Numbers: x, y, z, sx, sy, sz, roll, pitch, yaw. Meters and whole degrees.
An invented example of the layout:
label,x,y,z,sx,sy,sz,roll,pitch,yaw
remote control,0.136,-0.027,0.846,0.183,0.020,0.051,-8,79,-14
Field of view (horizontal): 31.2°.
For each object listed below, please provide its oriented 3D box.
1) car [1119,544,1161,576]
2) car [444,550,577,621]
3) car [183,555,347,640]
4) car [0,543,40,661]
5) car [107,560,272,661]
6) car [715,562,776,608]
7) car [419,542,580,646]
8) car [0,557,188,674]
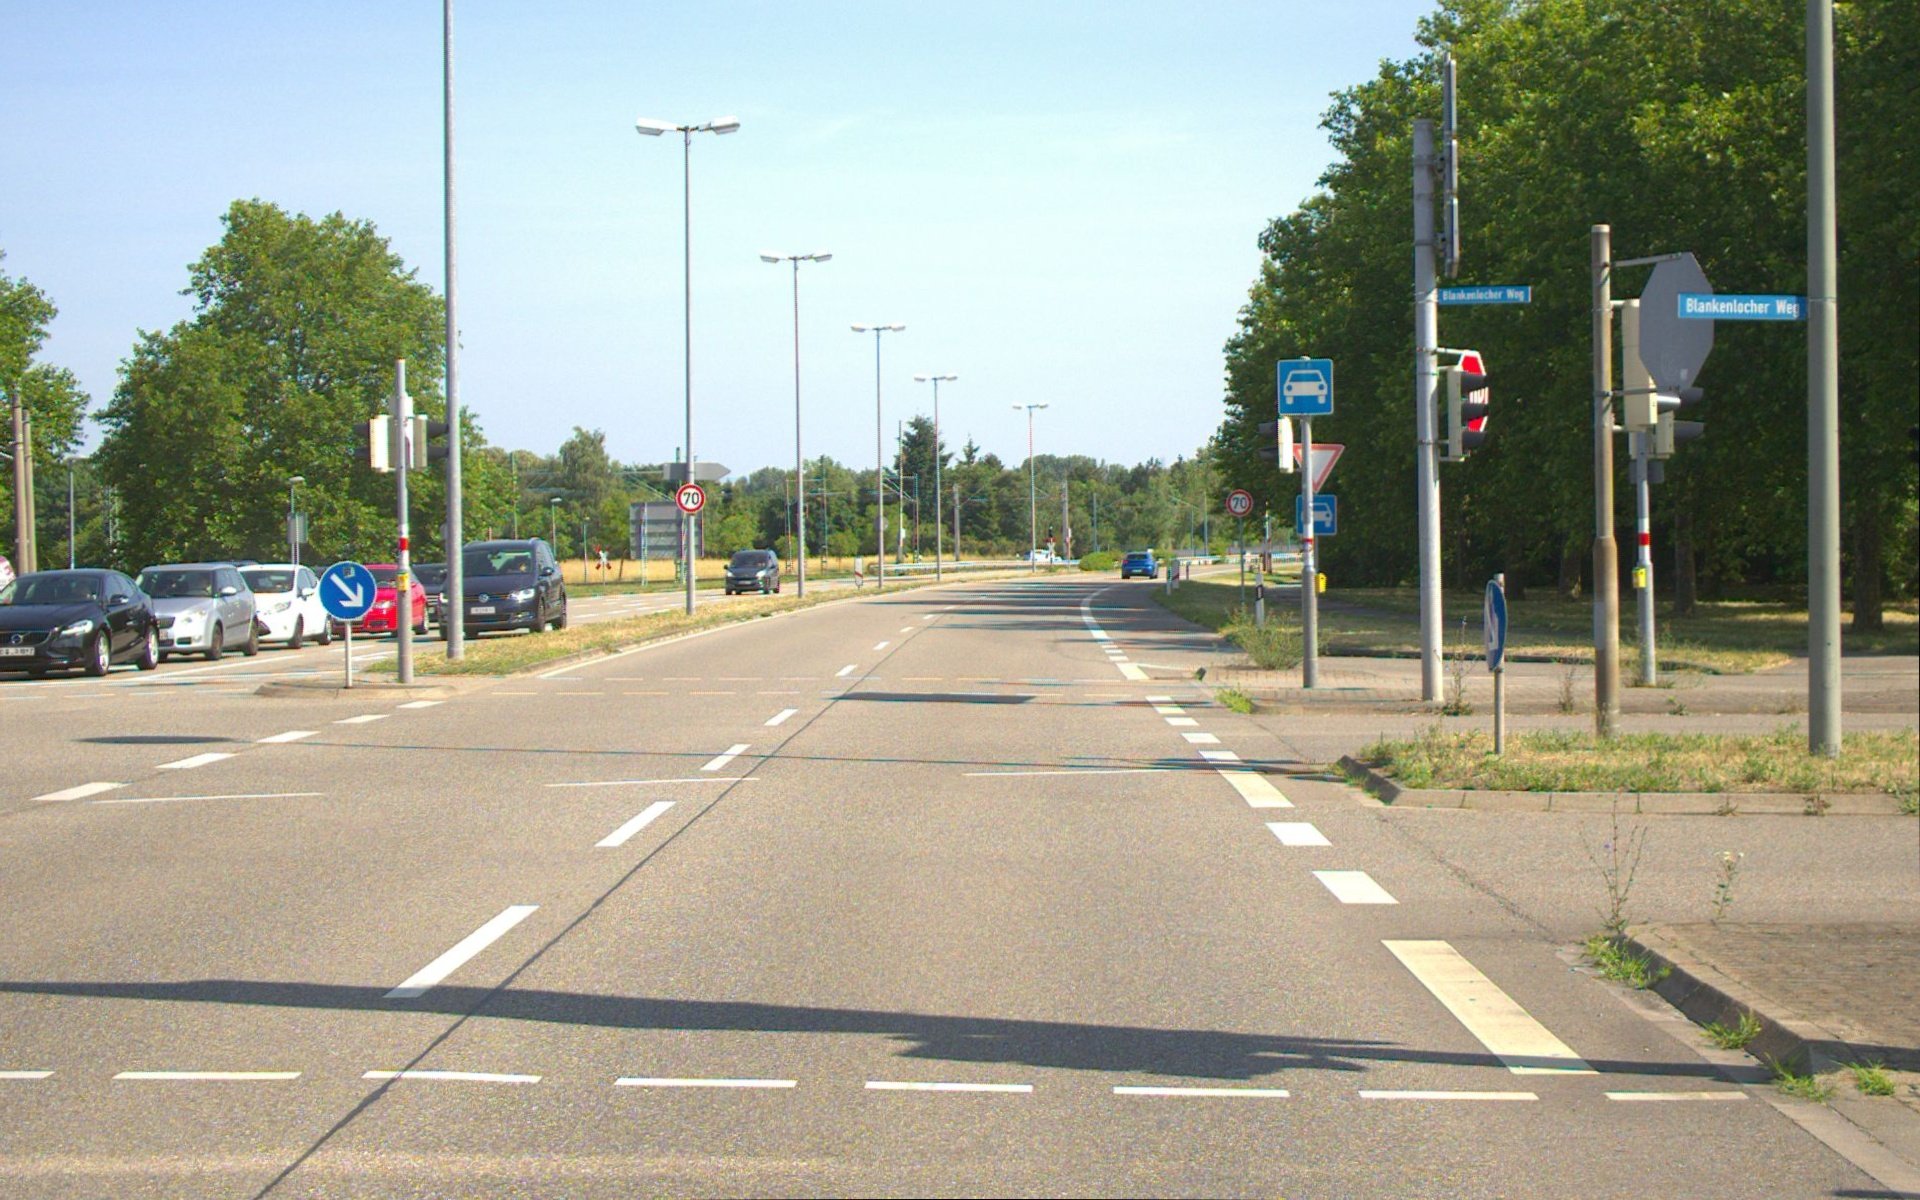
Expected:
label,x,y,z,sx,sy,sz,roll,pitch,yaw
car,9.630,-2.159,184.038,1.993,1.678,4.000,-1,1,-1
car,-9.537,-0.332,73.296,1.981,1.452,4.450,-1,1,3
car,-11.942,-0.063,59.263,1.829,1.381,3.843,-1,1,3
car,-15.297,0.049,52.069,1.704,1.763,4.230,-2,1,-2
car,-11.753,0.131,52.660,1.619,1.452,3.871,-1,1,0
car,-8.575,-0.600,137.552,1.981,1.773,4.489,-1,1,2
car,-8.133,-0.139,61.144,1.981,1.744,4.507,-1,1,3
car,-11.874,0.171,45.760,1.981,1.452,4.332,-1,1,3
